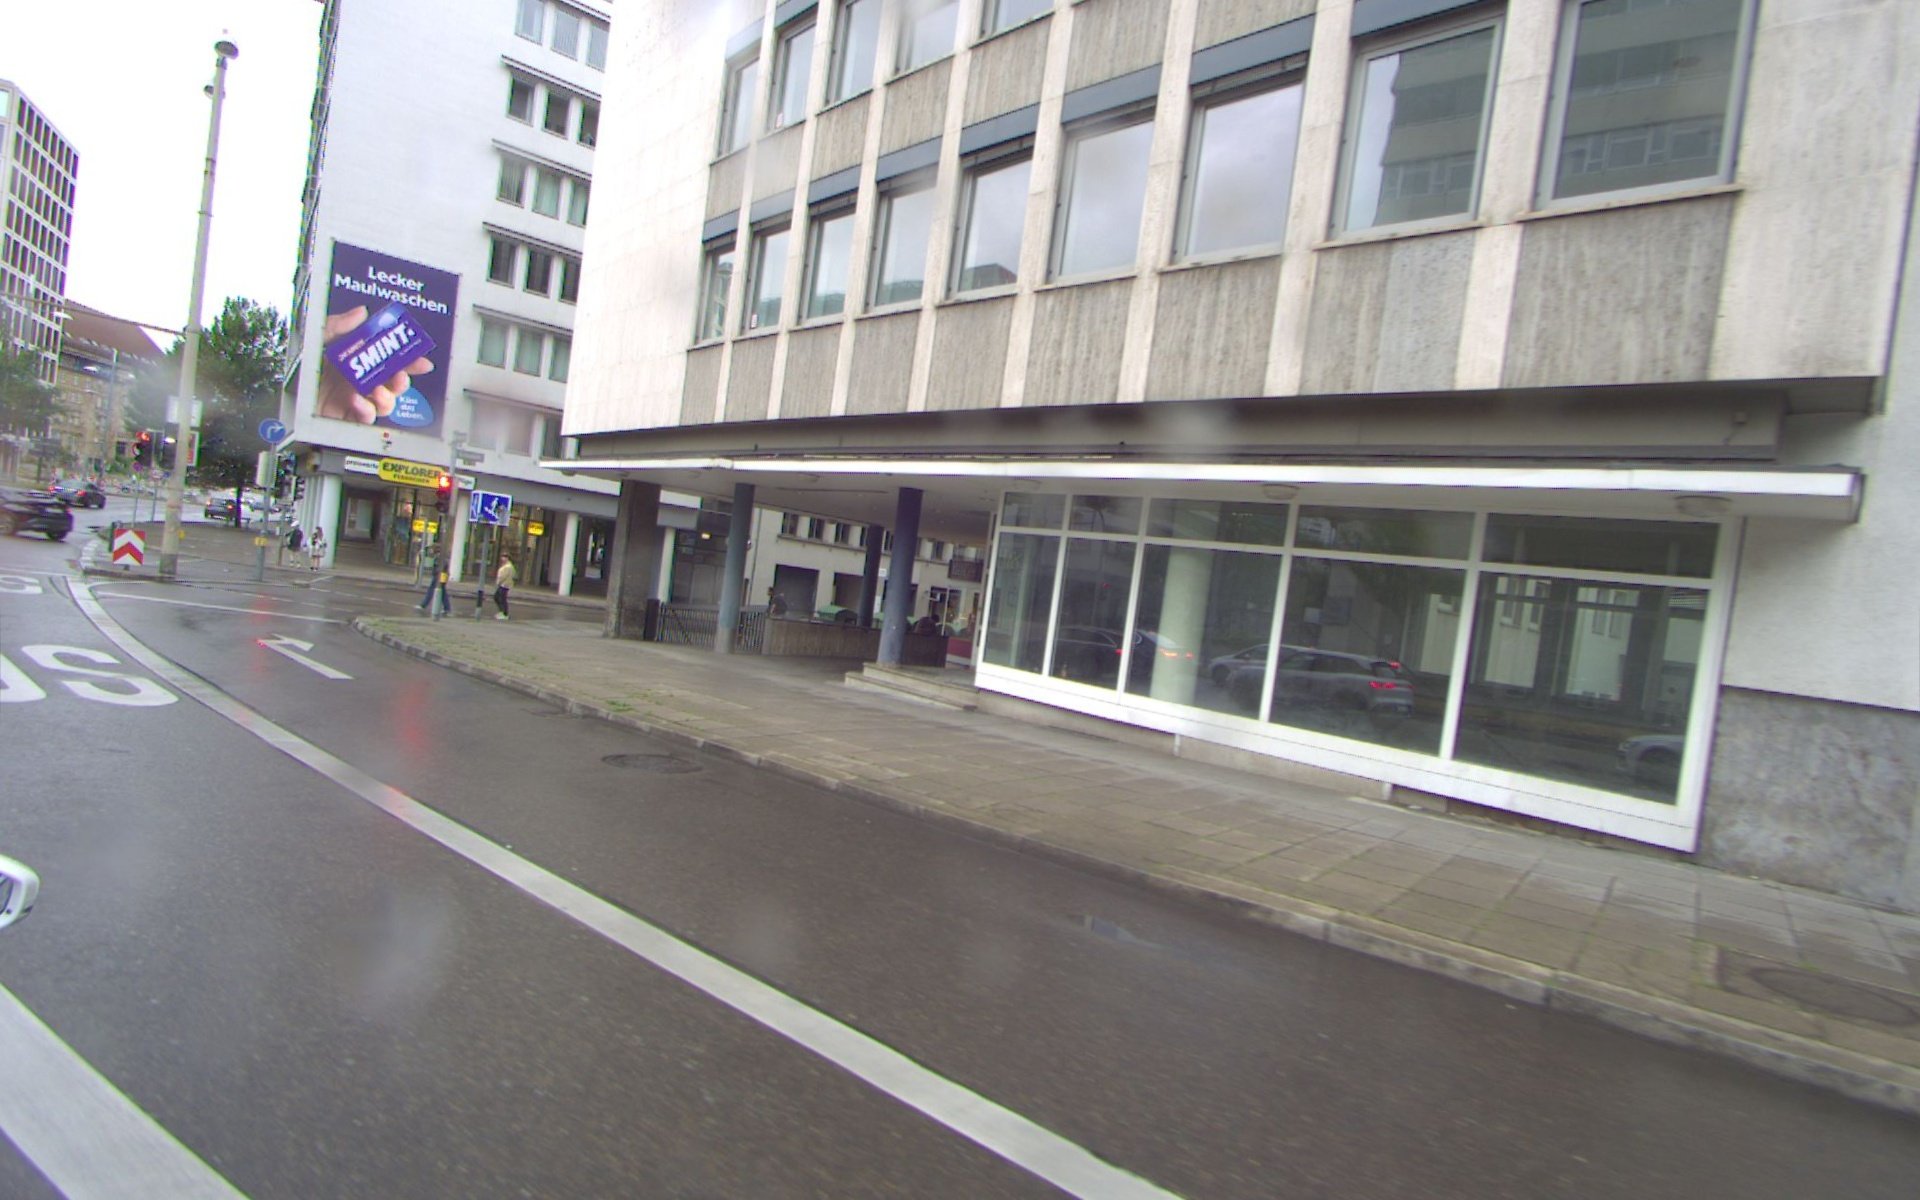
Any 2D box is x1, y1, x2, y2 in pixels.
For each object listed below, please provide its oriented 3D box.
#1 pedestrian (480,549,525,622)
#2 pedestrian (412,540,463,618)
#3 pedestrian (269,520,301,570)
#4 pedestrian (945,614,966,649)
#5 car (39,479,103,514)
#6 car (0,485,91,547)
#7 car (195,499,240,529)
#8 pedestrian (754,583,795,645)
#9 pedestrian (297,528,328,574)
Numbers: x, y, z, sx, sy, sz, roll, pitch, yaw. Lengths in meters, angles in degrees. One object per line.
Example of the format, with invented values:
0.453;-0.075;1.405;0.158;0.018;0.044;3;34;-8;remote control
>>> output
-12.235;-0.396;26.896;0.724;1.820;0.730;7;1;-42;pedestrian
-13.118;-0.520;25.270;0.810;1.820;0.702;7;1;-42;pedestrian
-24.160;-1.980;36.008;0.724;1.689;0.683;7;0;-42;pedestrian
-0.236;1.730;54.935;0.677;1.820;0.722;7;0;-37;pedestrian
-51.428;-5.980;58.278;1.898;1.527;4.320;9;-1;-32;car
-30.494;-2.842;32.041;3.924;1.570;2.002;8;-1;7;car
-55.228;-6.397;74.927;2.033;1.786;4.322;9;-1;-30;car
-5.744;0.417;31.164;1.002;1.776;0.793;7;0;-13;pedestrian
-23.332;-1.769;36.247;0.724;1.543;0.751;7;0;-42;pedestrian
